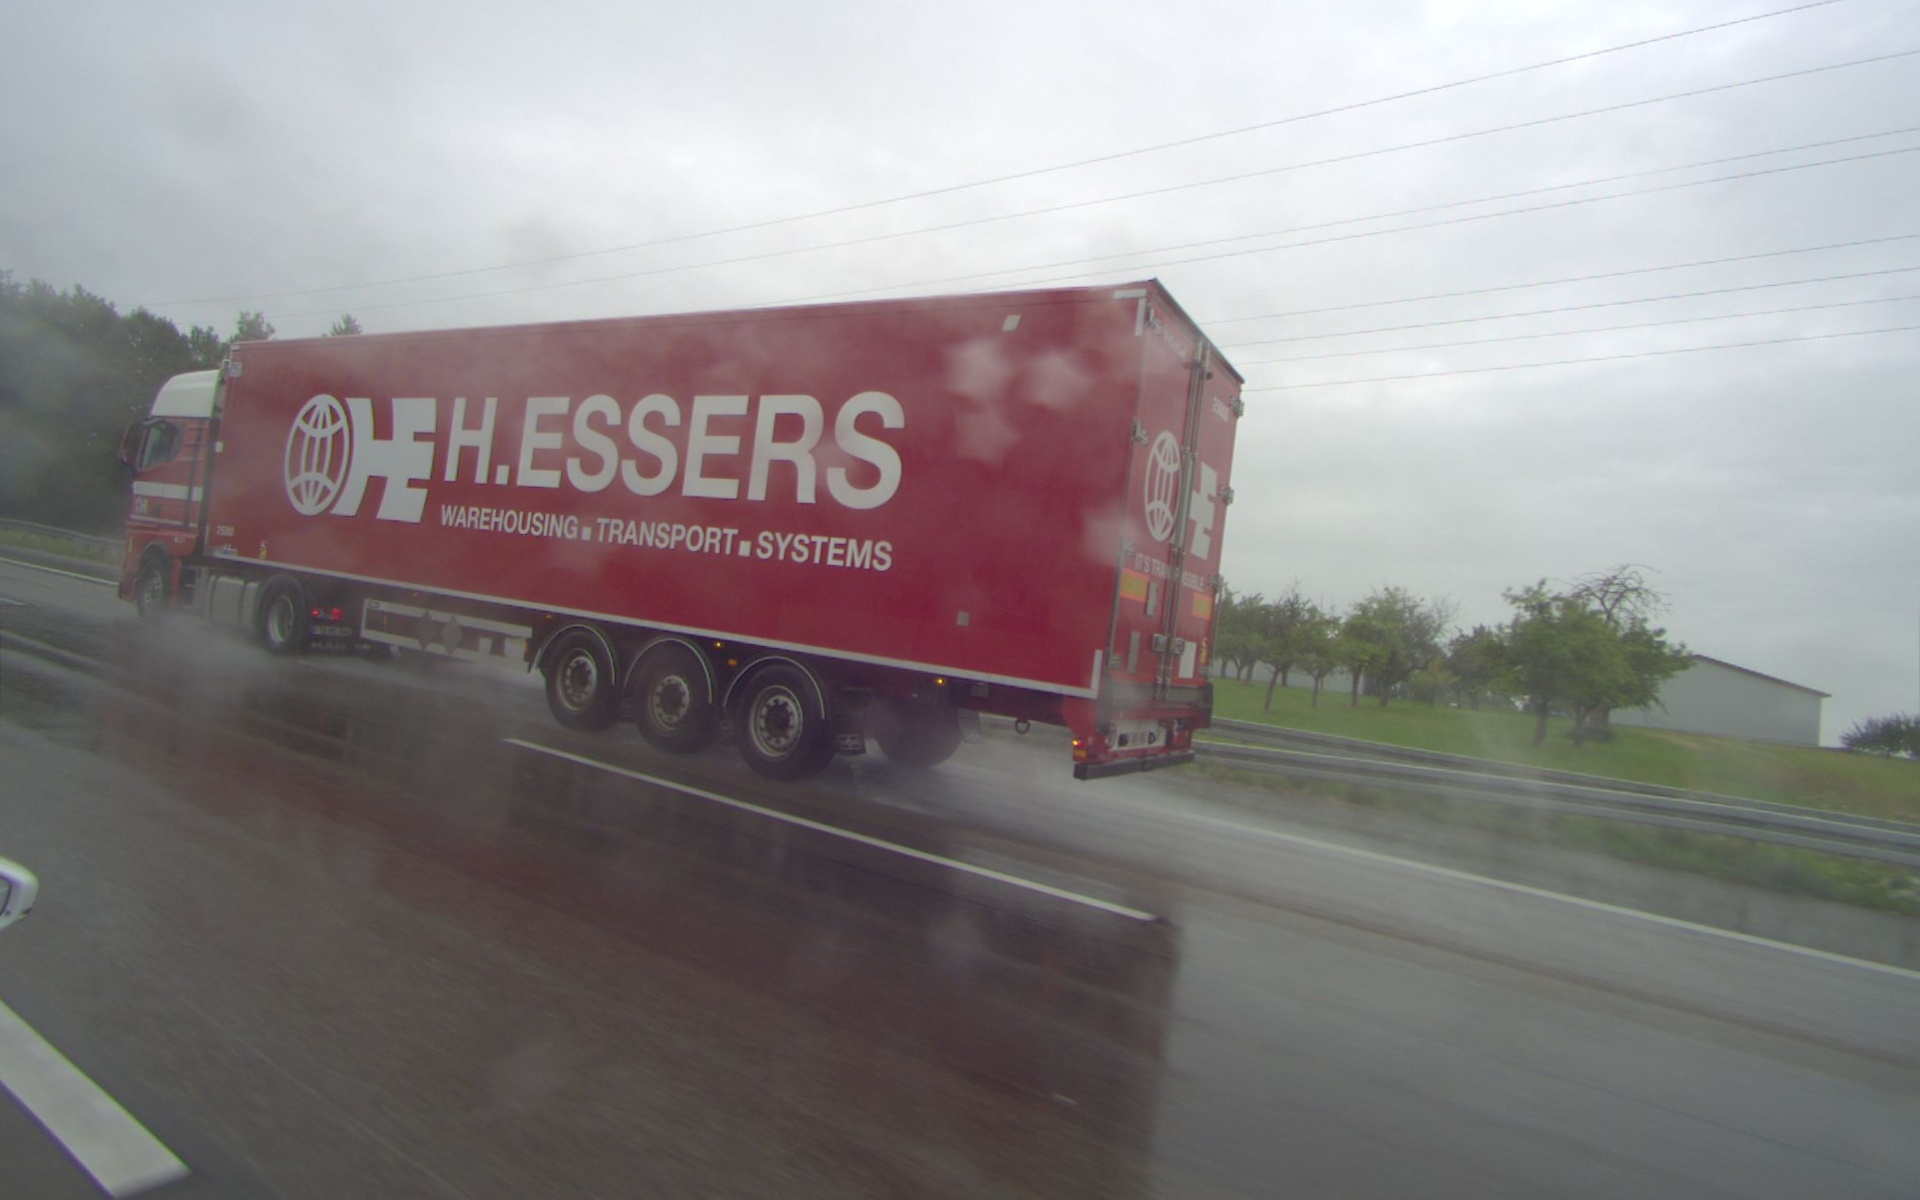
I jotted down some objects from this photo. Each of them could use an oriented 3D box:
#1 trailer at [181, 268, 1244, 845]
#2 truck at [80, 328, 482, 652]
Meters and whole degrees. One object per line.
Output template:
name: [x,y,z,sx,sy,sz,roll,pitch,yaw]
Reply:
trailer: [-4.022,-0.836,11.469,13.401,4.002,2.625,7,-1,31]
truck: [-10.321,-1.601,15.230,5.341,4.002,2.625,7,-1,30]
